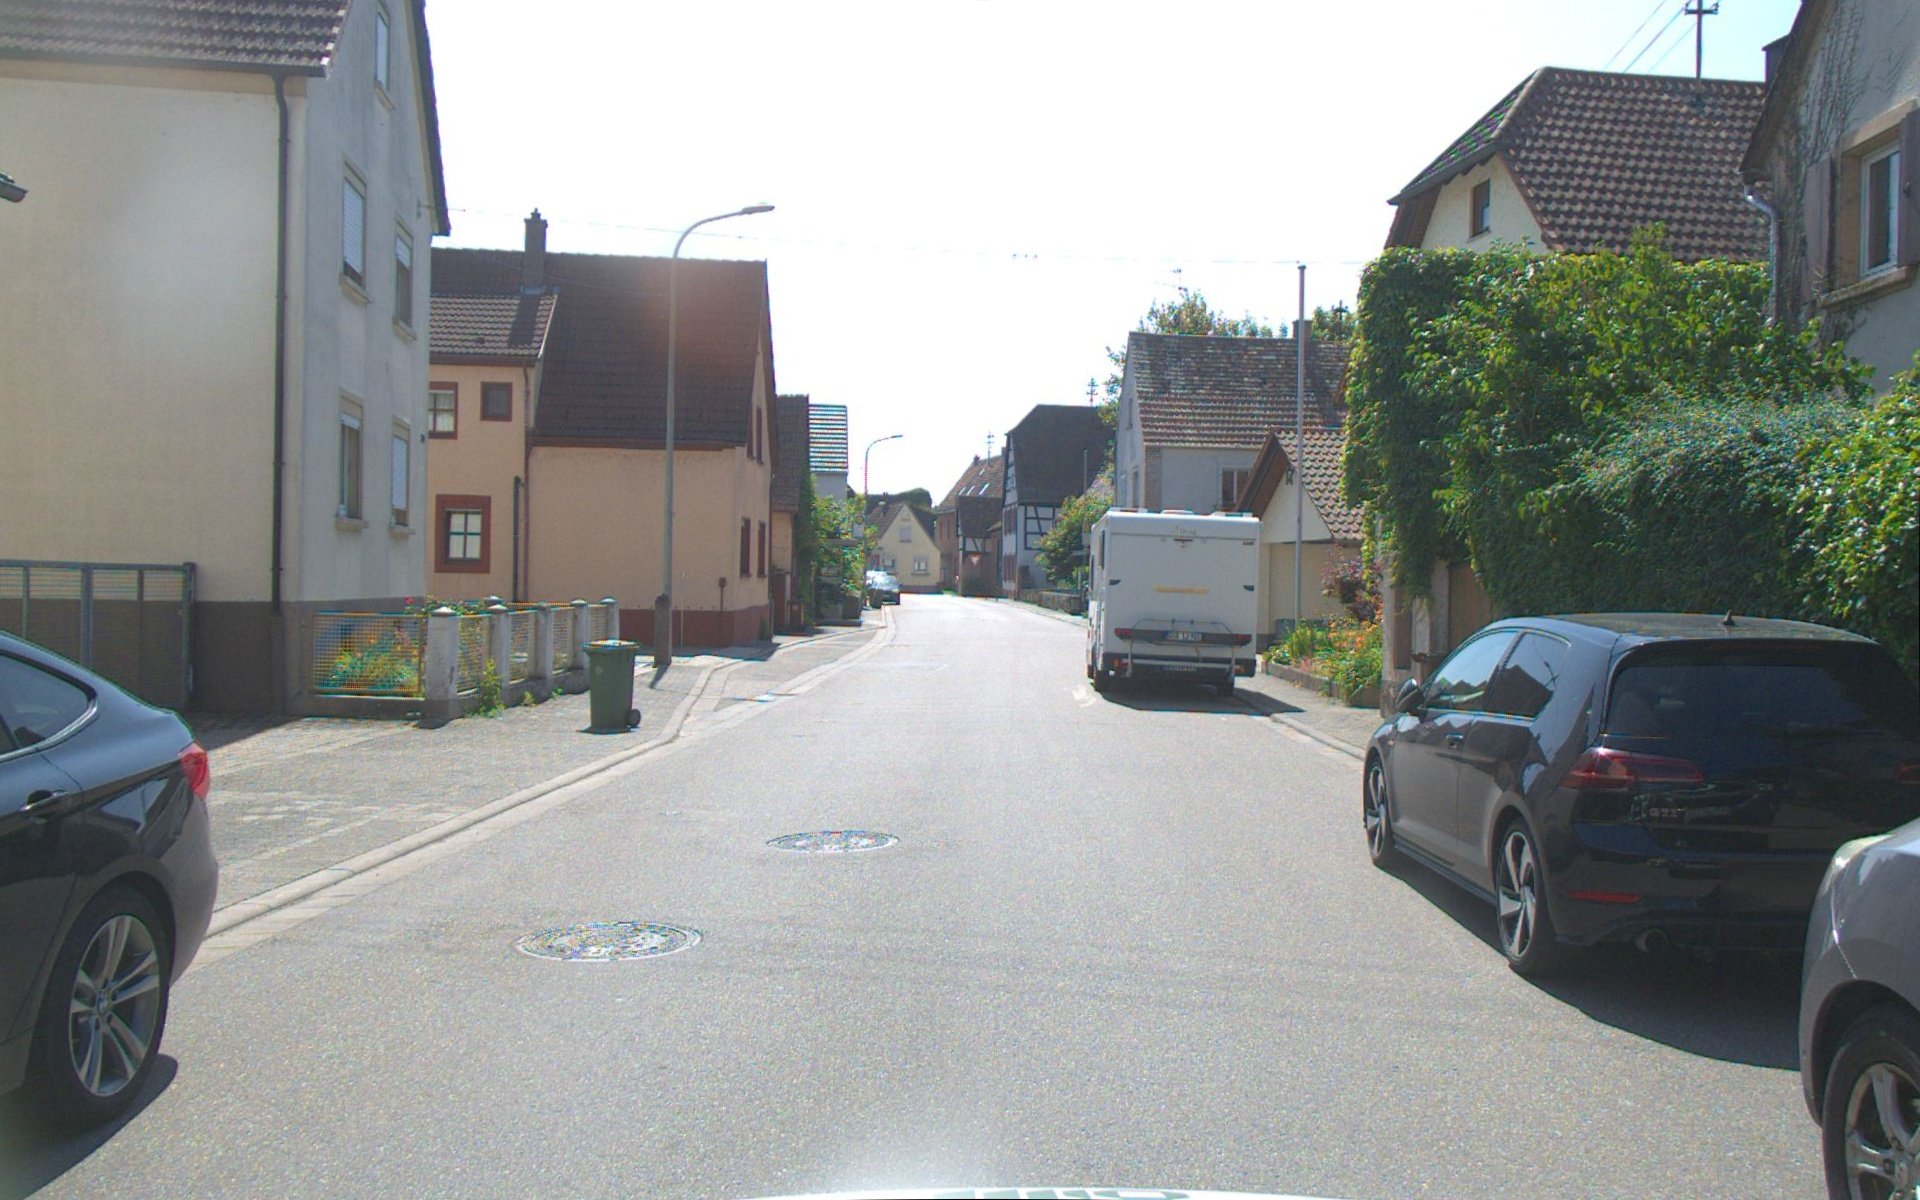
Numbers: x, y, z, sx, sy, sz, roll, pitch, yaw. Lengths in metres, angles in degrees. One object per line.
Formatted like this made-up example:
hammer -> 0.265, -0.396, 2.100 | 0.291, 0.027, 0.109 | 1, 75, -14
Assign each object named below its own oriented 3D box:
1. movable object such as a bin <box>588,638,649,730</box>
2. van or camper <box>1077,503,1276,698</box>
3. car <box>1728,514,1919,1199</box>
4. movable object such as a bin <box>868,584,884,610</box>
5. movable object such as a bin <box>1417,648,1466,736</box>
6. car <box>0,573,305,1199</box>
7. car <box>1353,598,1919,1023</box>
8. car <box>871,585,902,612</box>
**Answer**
movable object such as a bin -> -3.770, 0.924, 18.285 | 0.528, 0.966, 0.553 | 2, 0, 0
van or camper -> 3.233, -0.008, 25.781 | 2.470, 2.744, 4.555 | 1, 0, 0
car -> 2.776, 0.680, 2.029 | 1.756, 1.659, 4.362 | 0, 1, 2
movable object such as a bin -> -3.899, -0.122, 76.848 | 0.674, 1.206, 0.714 | 0, 0, 0
movable object such as a bin -> 5.209, 0.991, 17.900 | 0.404, 0.928, 0.438 | 0, 0, 0
car -> -3.214, 0.698, 3.300 | 1.806, 1.553, 4.766 | 1, 0, 1
car -> 3.154, 0.750, 7.942 | 1.676, 1.489, 4.066 | 0, 0, 2
car -> -3.970, -0.094, 89.306 | 1.480, 1.461, 3.511 | 0, 0, 0
